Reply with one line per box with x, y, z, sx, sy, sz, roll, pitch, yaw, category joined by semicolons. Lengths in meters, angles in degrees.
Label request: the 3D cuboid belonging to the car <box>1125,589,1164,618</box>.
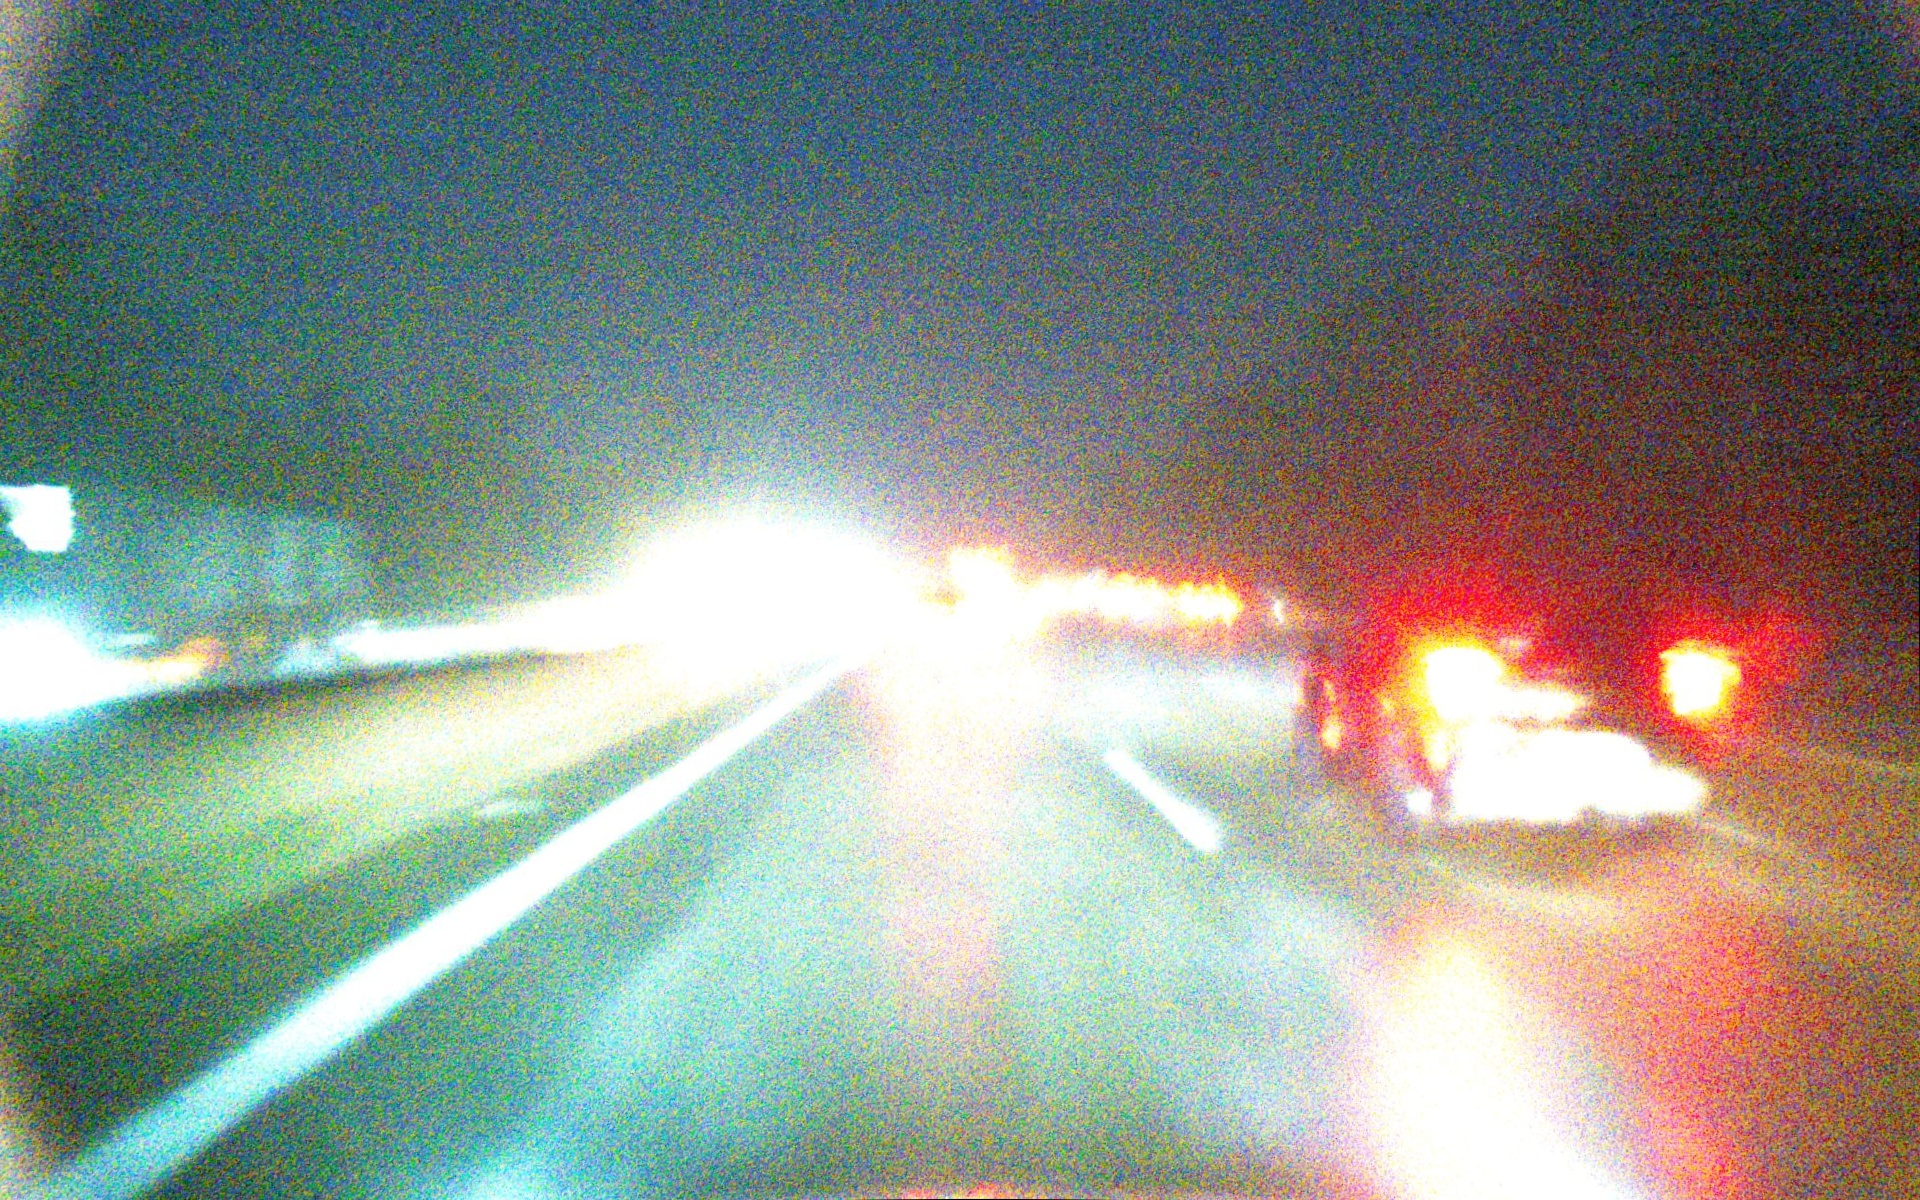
11.166;0.223;100.210;1.818;1.646;3.999;1;0;-1;car

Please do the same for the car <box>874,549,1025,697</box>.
-0.288;0.382;32.761;2.655;2.578;5.828;-2;1;-2;car

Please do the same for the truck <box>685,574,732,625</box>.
-18.663;-0.045;122.984;2.587;3.642;6.174;0;0;-1;truck

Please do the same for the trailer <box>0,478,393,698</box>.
-17.163;-0.290;38.842;2.907;4.166;14.219;-1;0;-1;trailer

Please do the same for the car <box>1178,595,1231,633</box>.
11.133;0.641;75.518;1.818;1.646;4.000;1;0;0;car

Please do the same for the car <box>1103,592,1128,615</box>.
11.581;0.262;123.138;1.677;1.585;4.002;1;0;3;car

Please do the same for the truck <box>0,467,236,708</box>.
-17.063;-0.220;32.212;2.862;4.166;6.992;-1;0;-1;truck

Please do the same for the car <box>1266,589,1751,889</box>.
3.374;0.751;11.044;1.846;1.616;3.999;1;0;-1;car

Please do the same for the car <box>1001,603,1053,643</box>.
2.887;0.978;72.329;2.093;1.646;4.000;1;0;0;car
